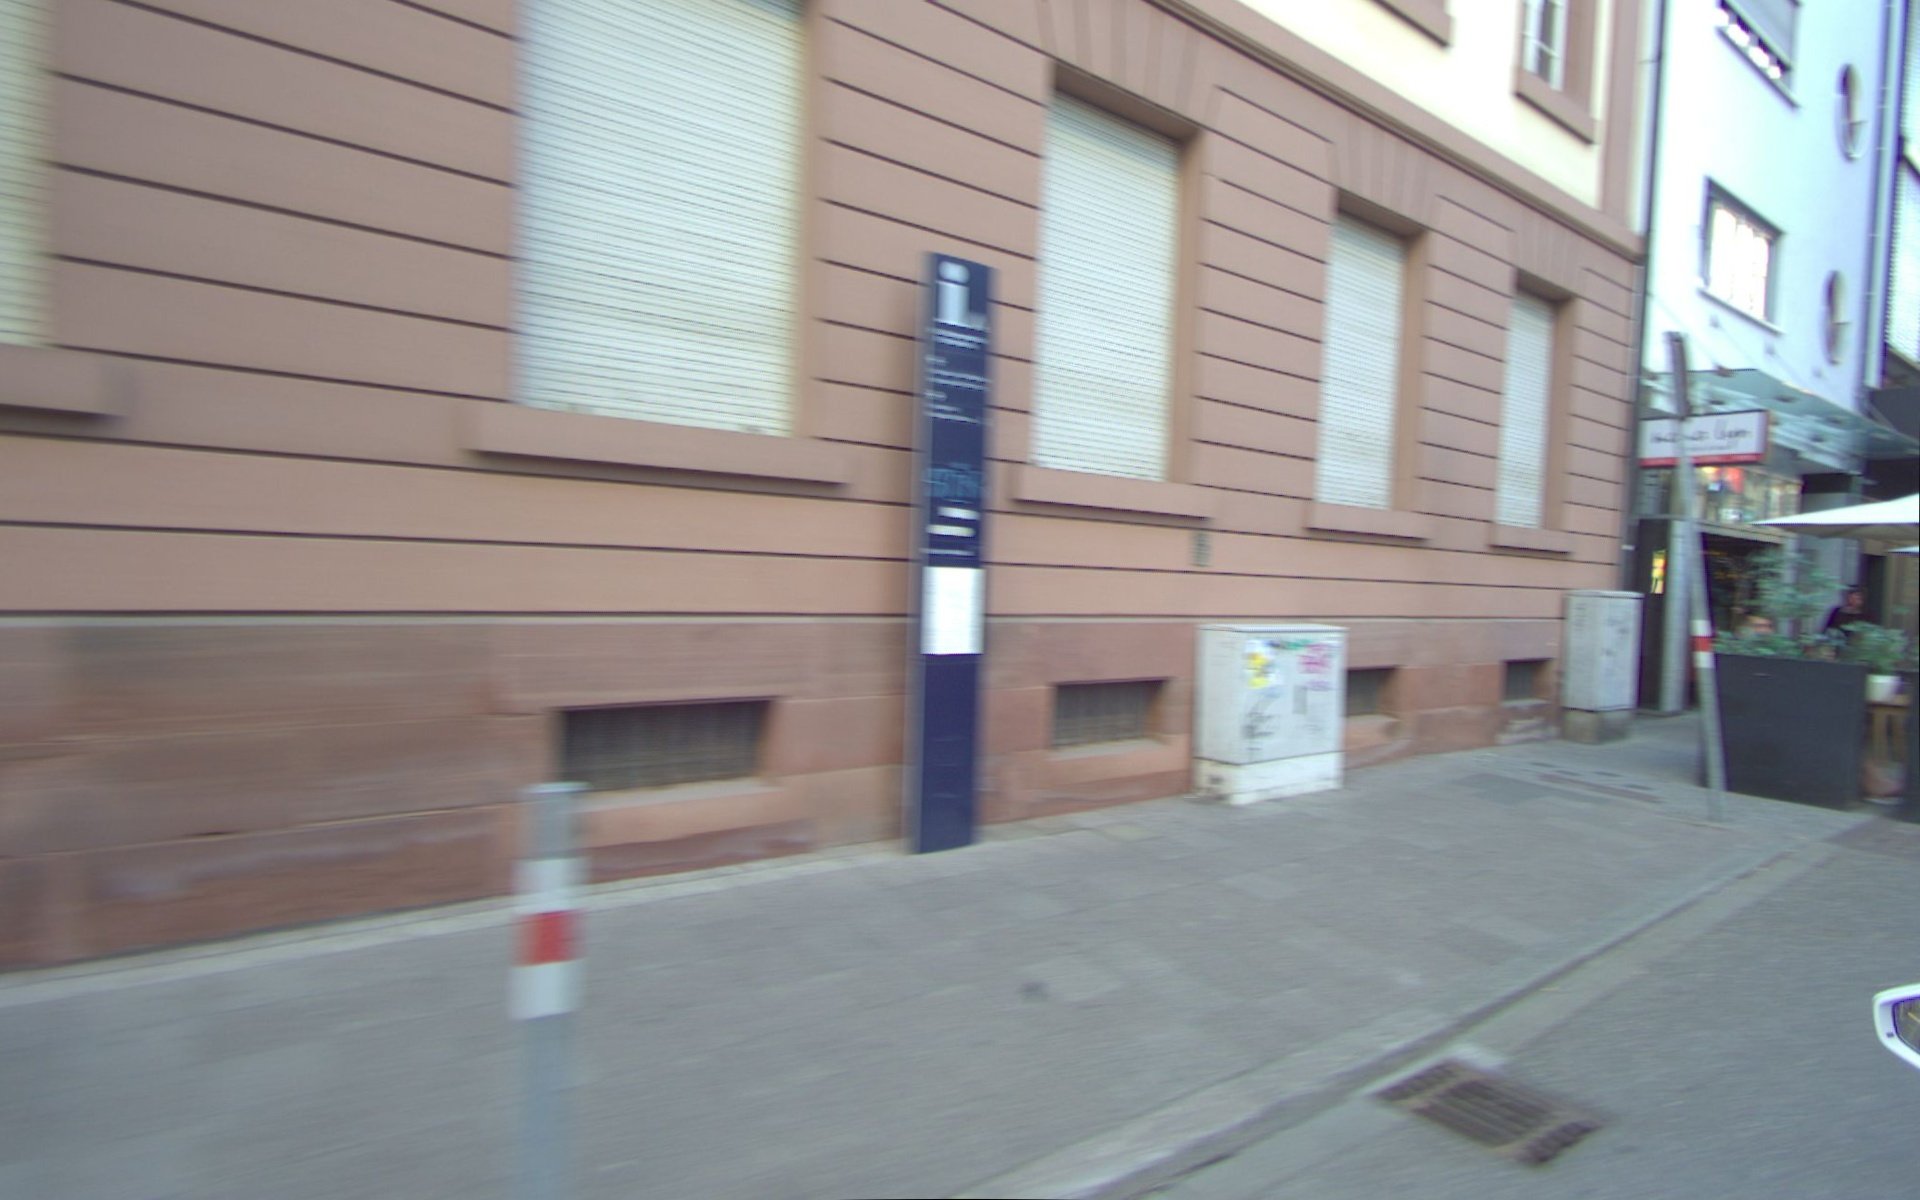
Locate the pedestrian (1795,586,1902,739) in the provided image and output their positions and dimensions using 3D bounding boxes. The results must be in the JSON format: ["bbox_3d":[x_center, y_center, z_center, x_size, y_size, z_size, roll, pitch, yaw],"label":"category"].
[{"bbox_3d":[10.264,0.686,11.611,0.720,1.671,0.783,1,2,-41],"label":"pedestrian"}]

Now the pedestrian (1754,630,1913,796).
[{"bbox_3d":[7.057,0.872,8.130,0.667,1.199,0.784,1,3,-38],"label":"pedestrian"}]

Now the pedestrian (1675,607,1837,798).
[{"bbox_3d":[6.238,0.764,7.885,0.667,1.349,0.784,1,3,-38],"label":"pedestrian"}]

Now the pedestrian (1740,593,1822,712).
[{"bbox_3d":[12.171,0.750,14.914,0.845,1.681,0.797,3,2,37],"label":"pedestrian"}]
